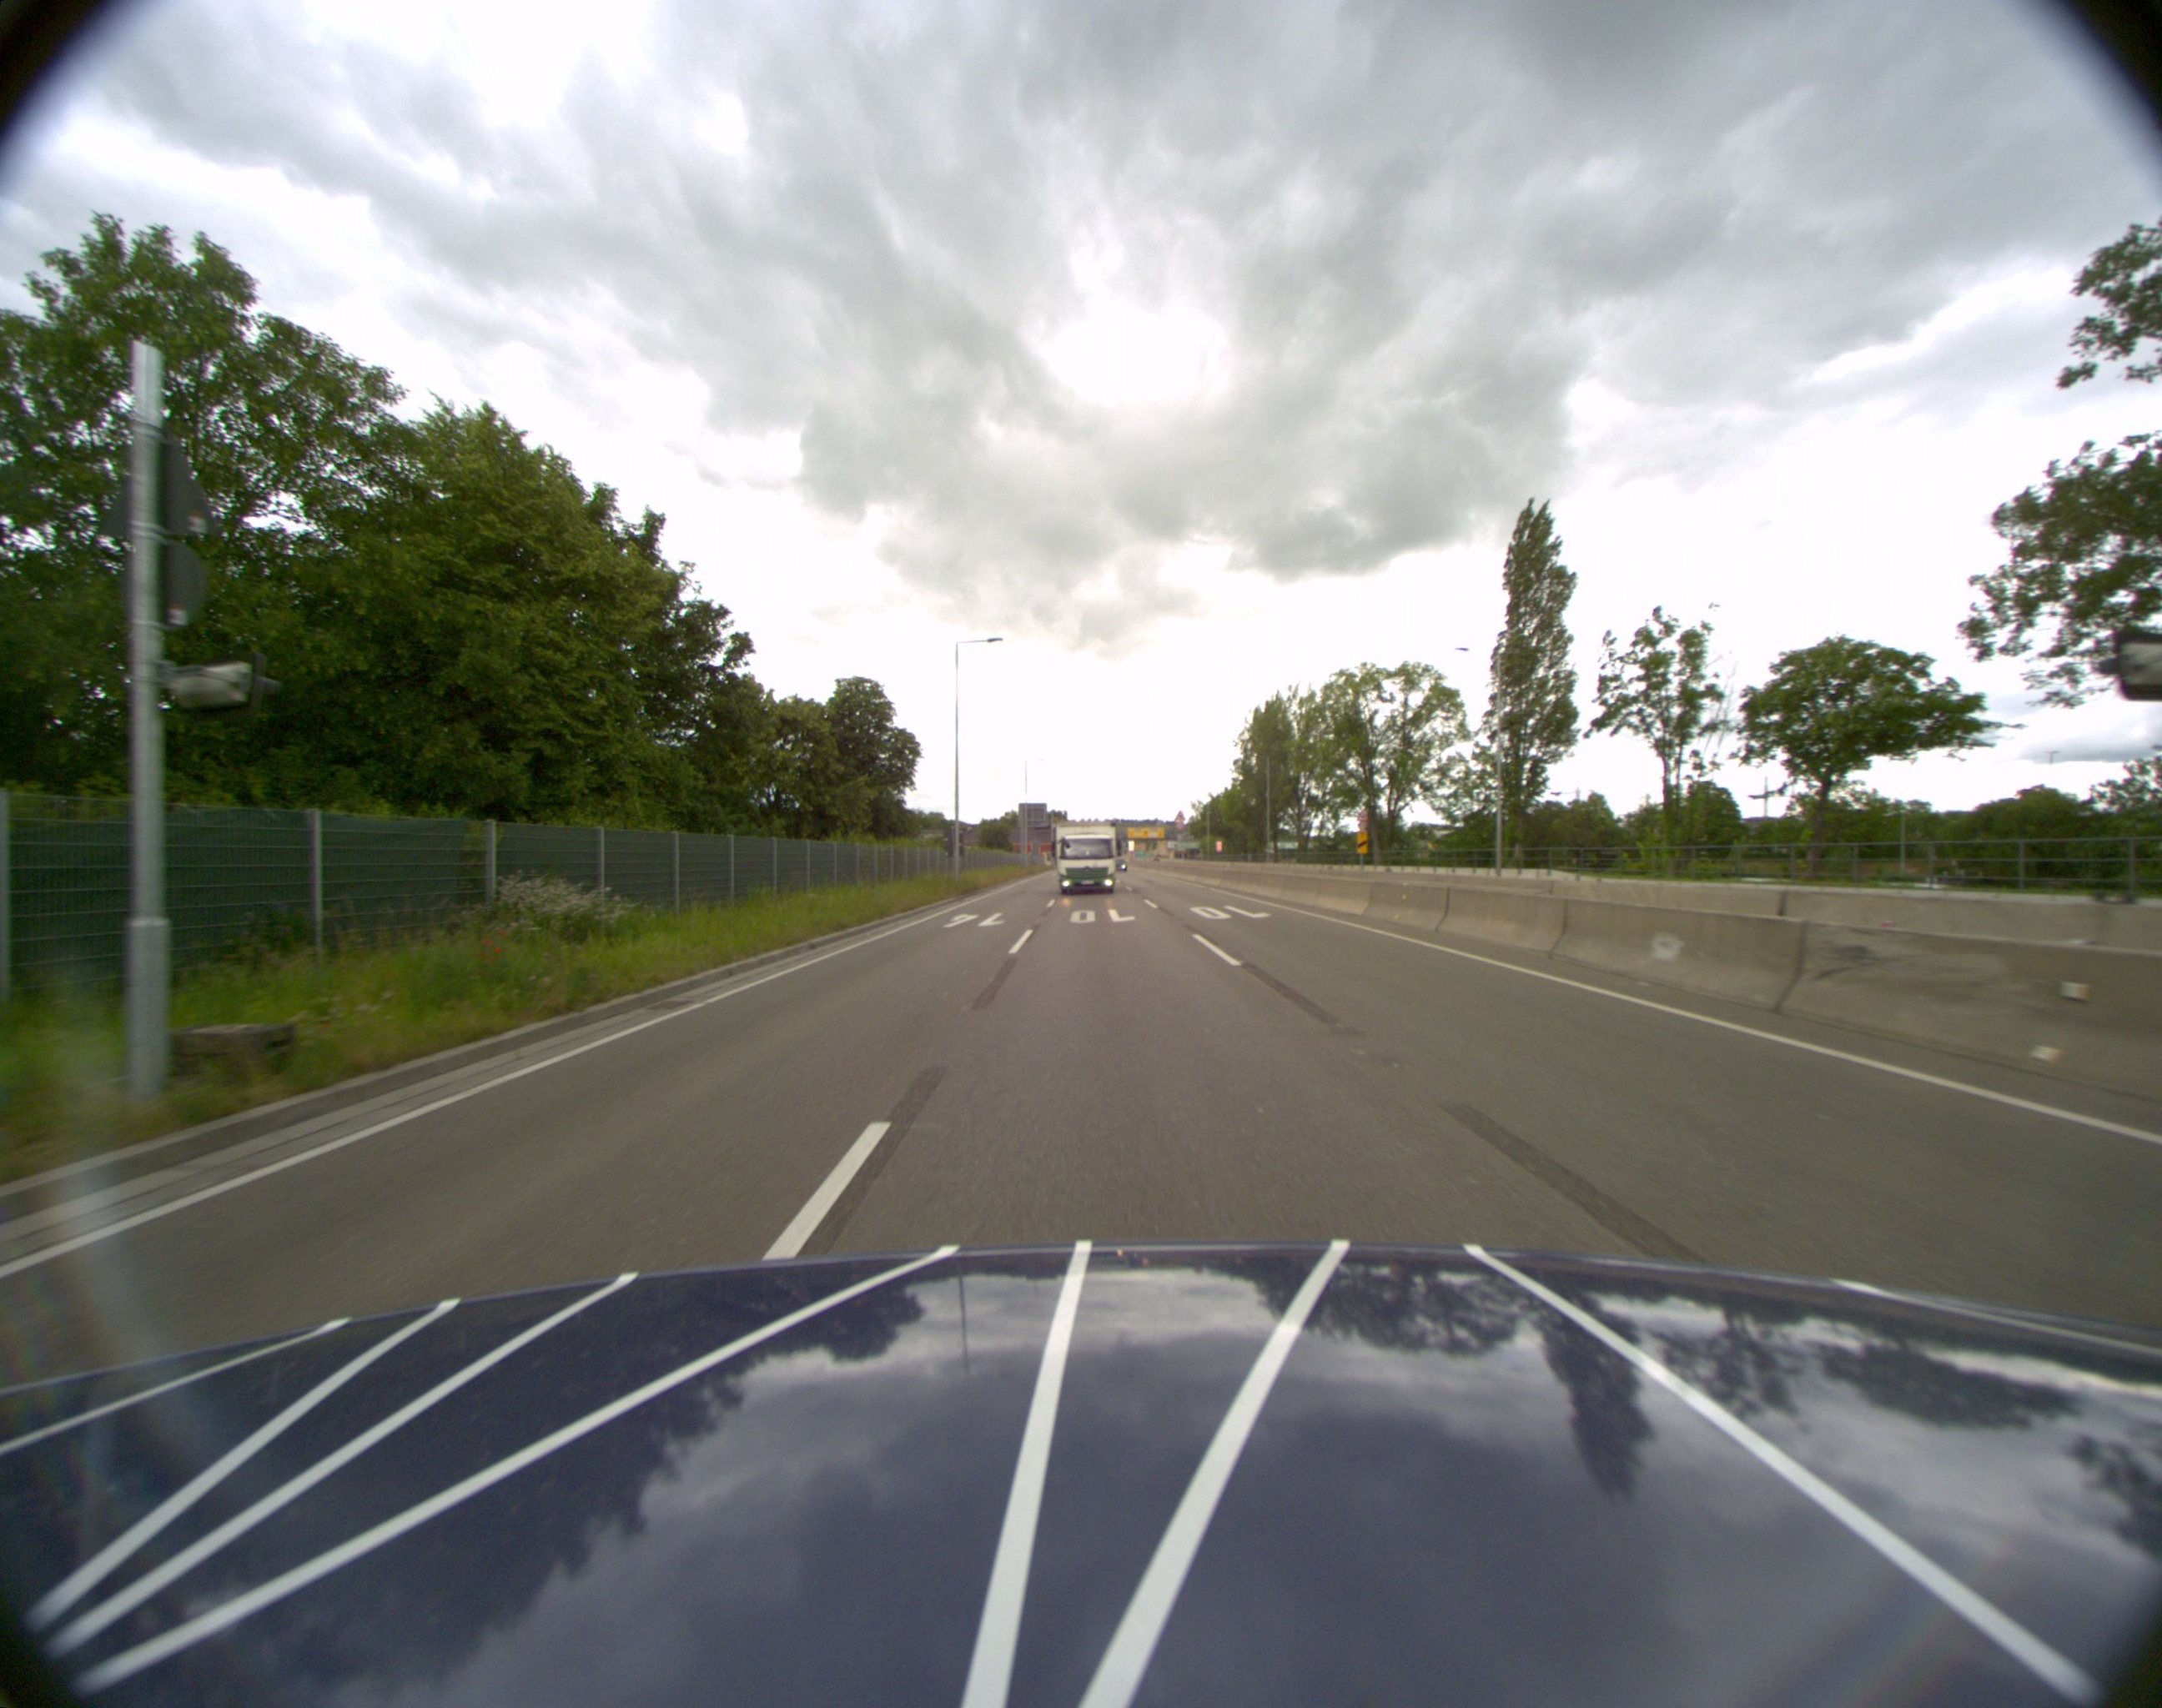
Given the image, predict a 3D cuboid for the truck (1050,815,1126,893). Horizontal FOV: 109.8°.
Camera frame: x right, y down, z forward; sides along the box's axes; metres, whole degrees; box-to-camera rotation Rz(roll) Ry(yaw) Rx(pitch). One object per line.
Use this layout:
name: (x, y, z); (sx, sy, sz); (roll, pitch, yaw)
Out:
truck: (0.259, 0.013, 35.040); (2.943, 3.064, 8.386); (-2, 0, 0)

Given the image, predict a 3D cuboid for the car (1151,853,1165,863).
car: (15.959, 0.724, 157.252); (2.335, 1.914, 5.002); (-3, 0, 1)

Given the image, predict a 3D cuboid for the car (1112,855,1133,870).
car: (4.357, 0.904, 80.455); (1.998, 1.444, 4.000); (-3, 0, 1)
